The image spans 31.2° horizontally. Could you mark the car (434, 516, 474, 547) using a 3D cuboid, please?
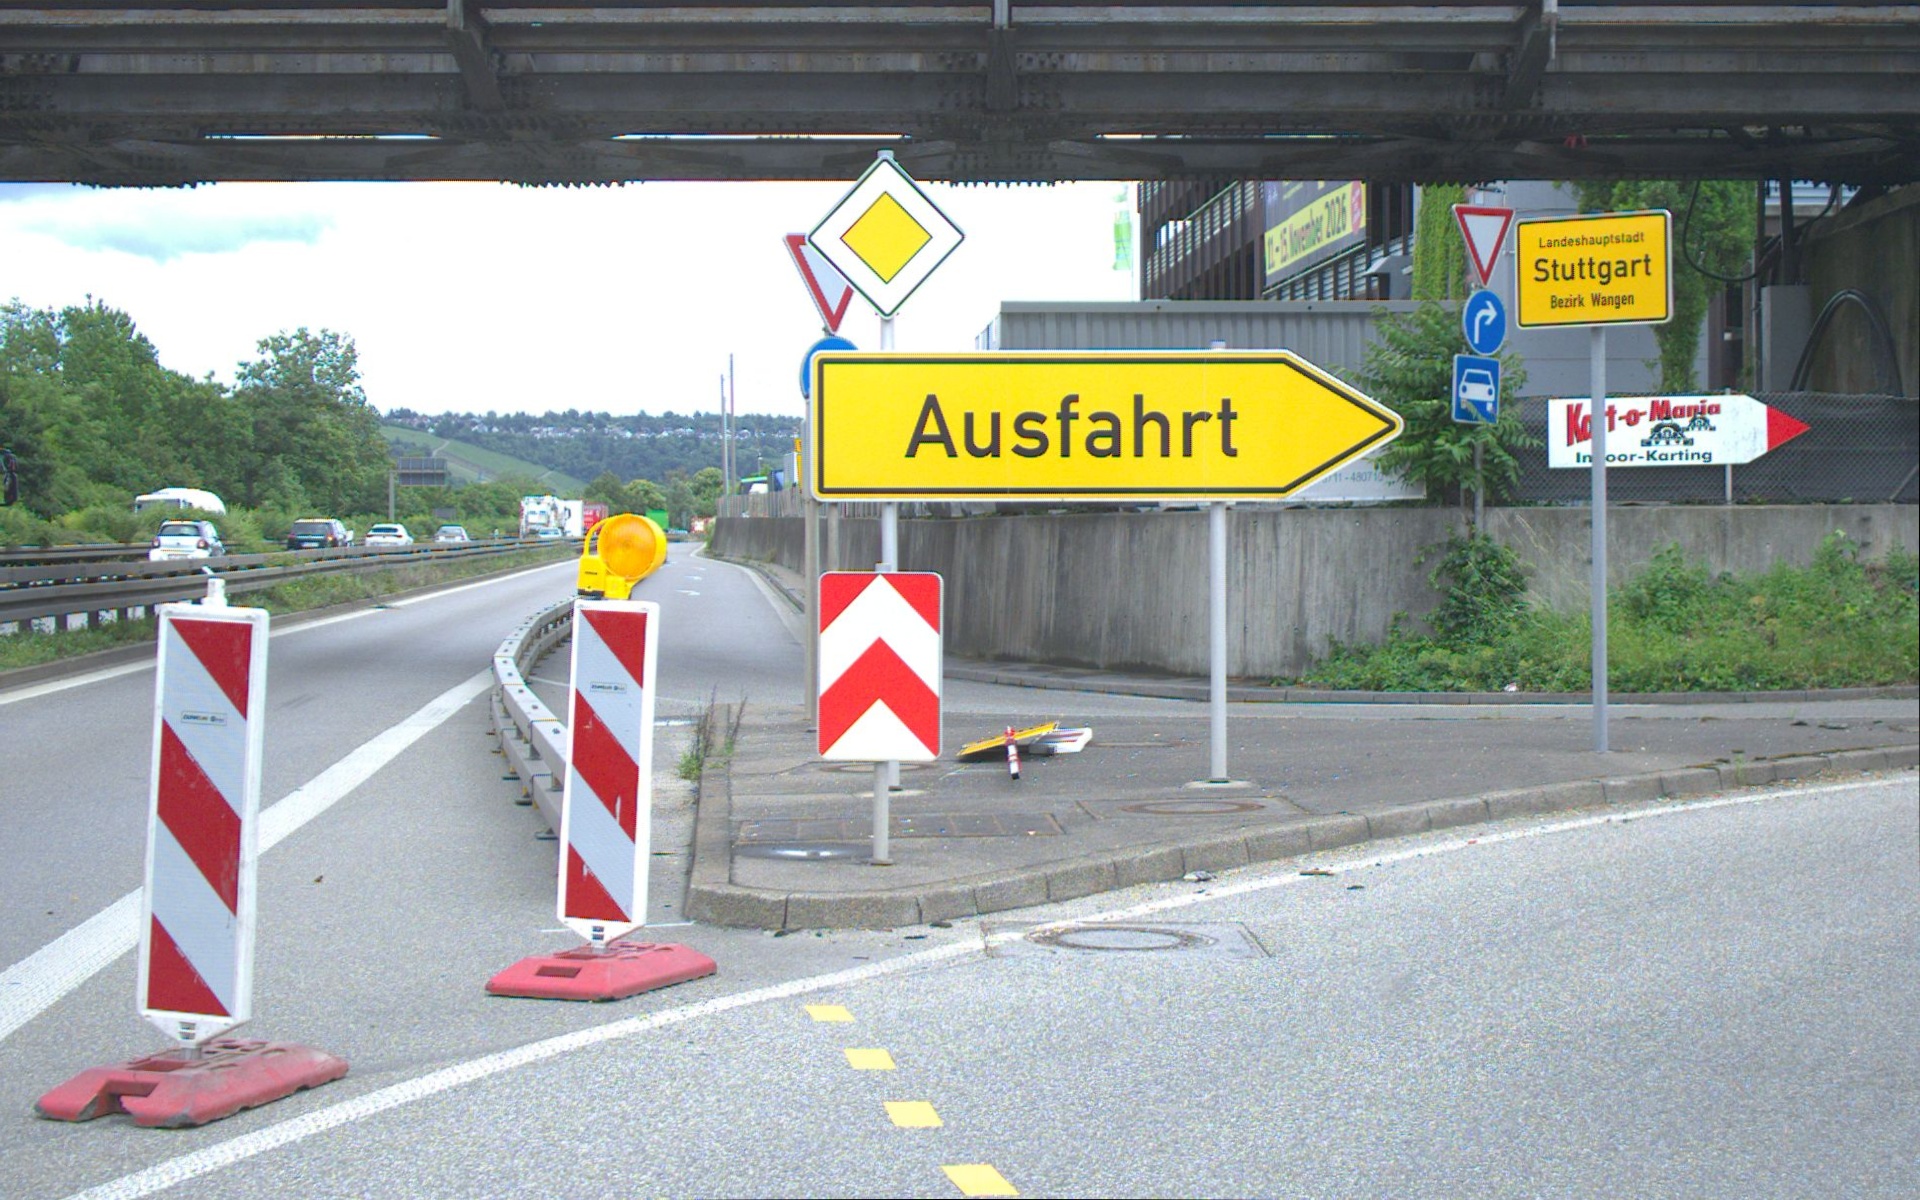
[{"bbox_3d":[-27.264,-3.701,185.348,1.779,1.590,3.750,0,1,-3],"label":"car"}]

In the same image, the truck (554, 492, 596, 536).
[{"bbox_3d":[-28.423,-6.345,254.085,2.681,3.129,6.133,1,1,-3],"label":"truck"}]

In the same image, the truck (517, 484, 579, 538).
[{"bbox_3d":[-28.231,-6.106,235.761,3.719,3.633,7.729,0,1,-3],"label":"truck"}]

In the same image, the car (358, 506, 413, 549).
[{"bbox_3d":[-24.673,-3.118,147.846,1.993,1.809,4.001,0,1,-5],"label":"car"}]

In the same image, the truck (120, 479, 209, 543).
[{"bbox_3d":[-37.116,-4.133,160.680,2.497,2.836,7.254,1,1,-1],"label":"truck"}]

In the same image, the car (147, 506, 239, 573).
[{"bbox_3d":[-20.863,-1.649,93.653,1.993,1.753,4.001,-1,1,-6],"label":"car"}]

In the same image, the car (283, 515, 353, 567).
[{"bbox_3d":[-22.327,-2.053,119.686,1.993,1.753,4.001,-1,1,-5],"label":"car"}]

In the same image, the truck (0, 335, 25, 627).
[{"bbox_3d":[-13.106,-1.374,39.014,2.952,3.617,10.157,0,2,-4],"label":"truck"}]
